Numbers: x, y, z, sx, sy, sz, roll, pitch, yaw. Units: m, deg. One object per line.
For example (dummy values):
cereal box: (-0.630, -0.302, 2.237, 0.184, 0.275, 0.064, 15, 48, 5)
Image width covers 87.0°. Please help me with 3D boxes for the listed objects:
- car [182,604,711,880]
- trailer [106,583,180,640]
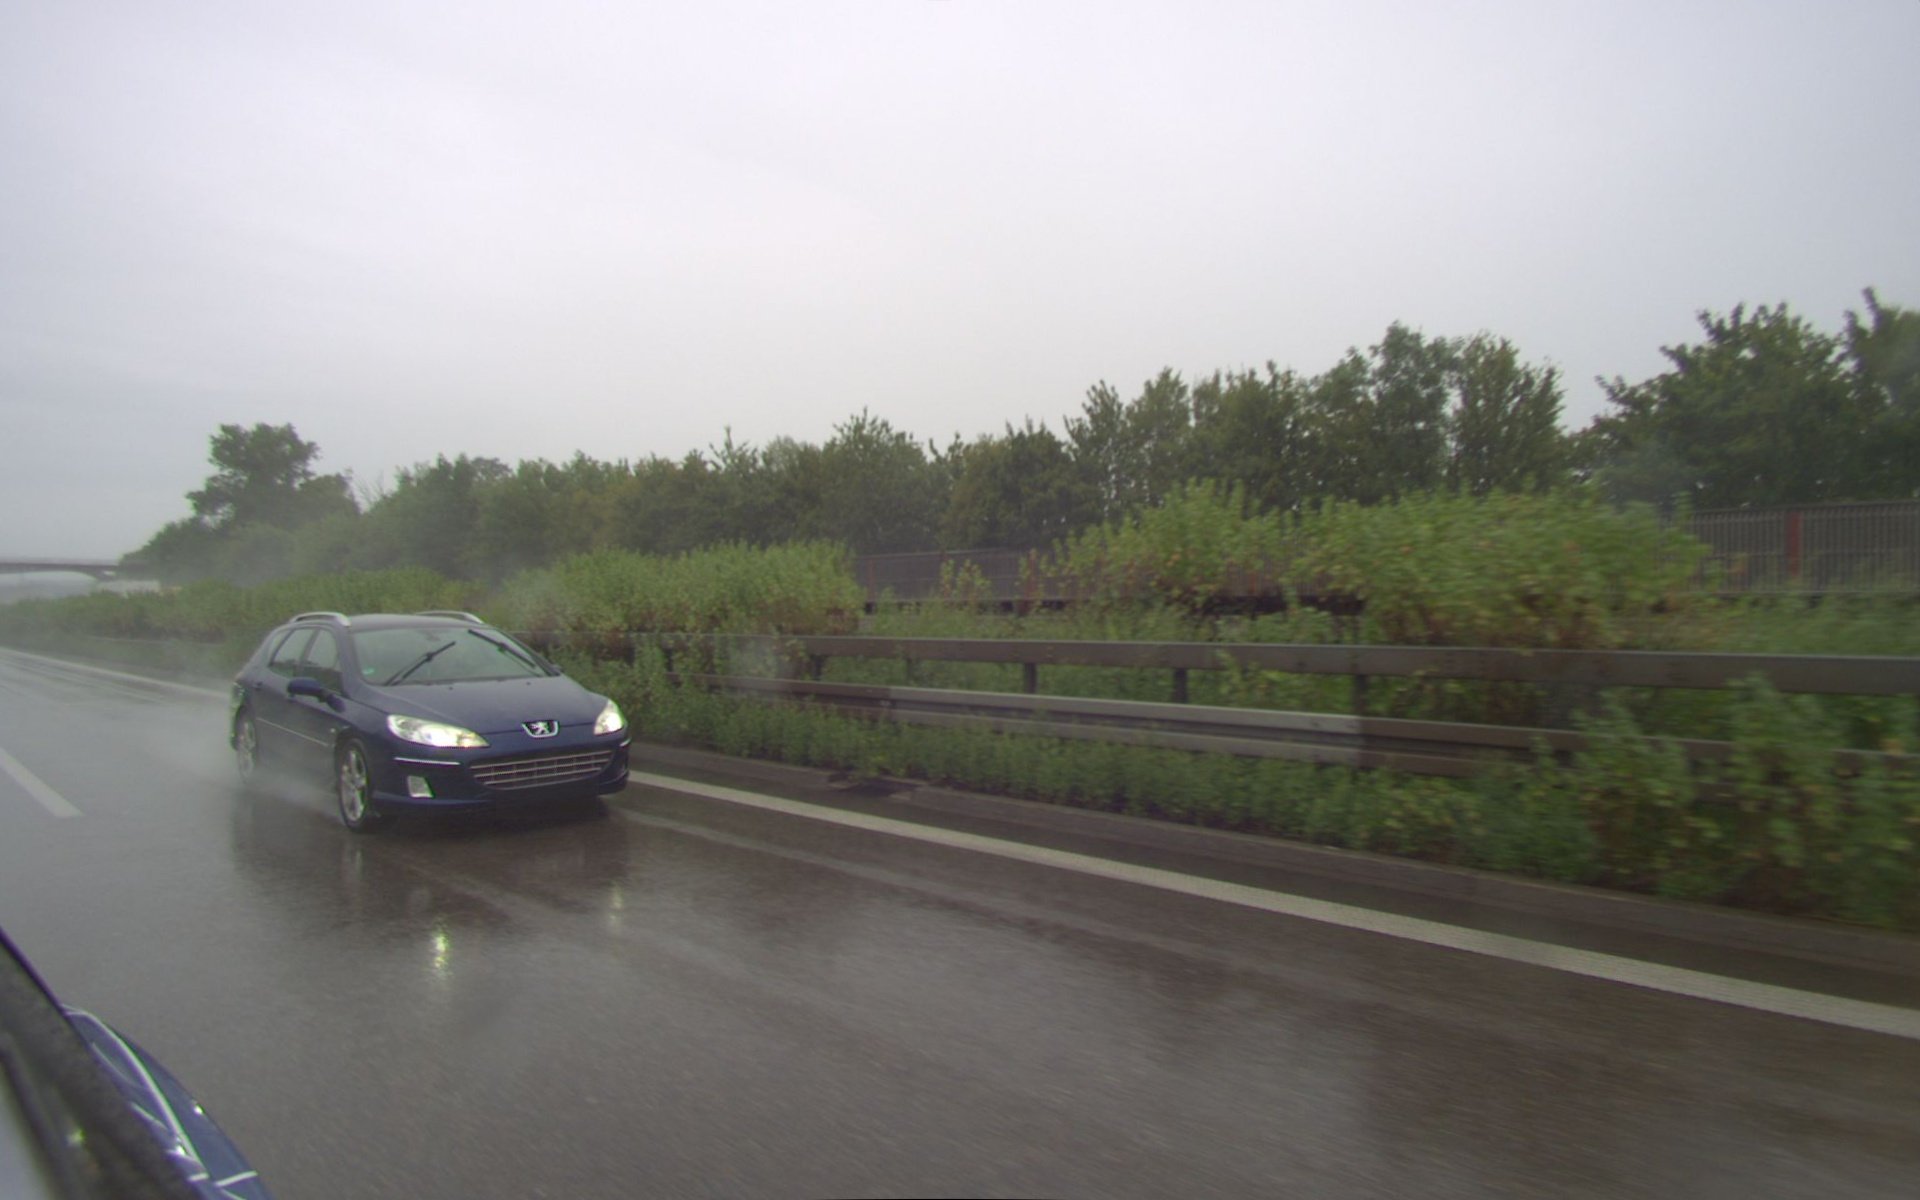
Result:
car: (-4.327, 0.816, 8.033, 5.156, 1.496, 2.032, -1, 0, 42)
trailer: (-73.471, 1.073, 90.830, 3.824, 4.731, 15.036, 0, -1, -44)
